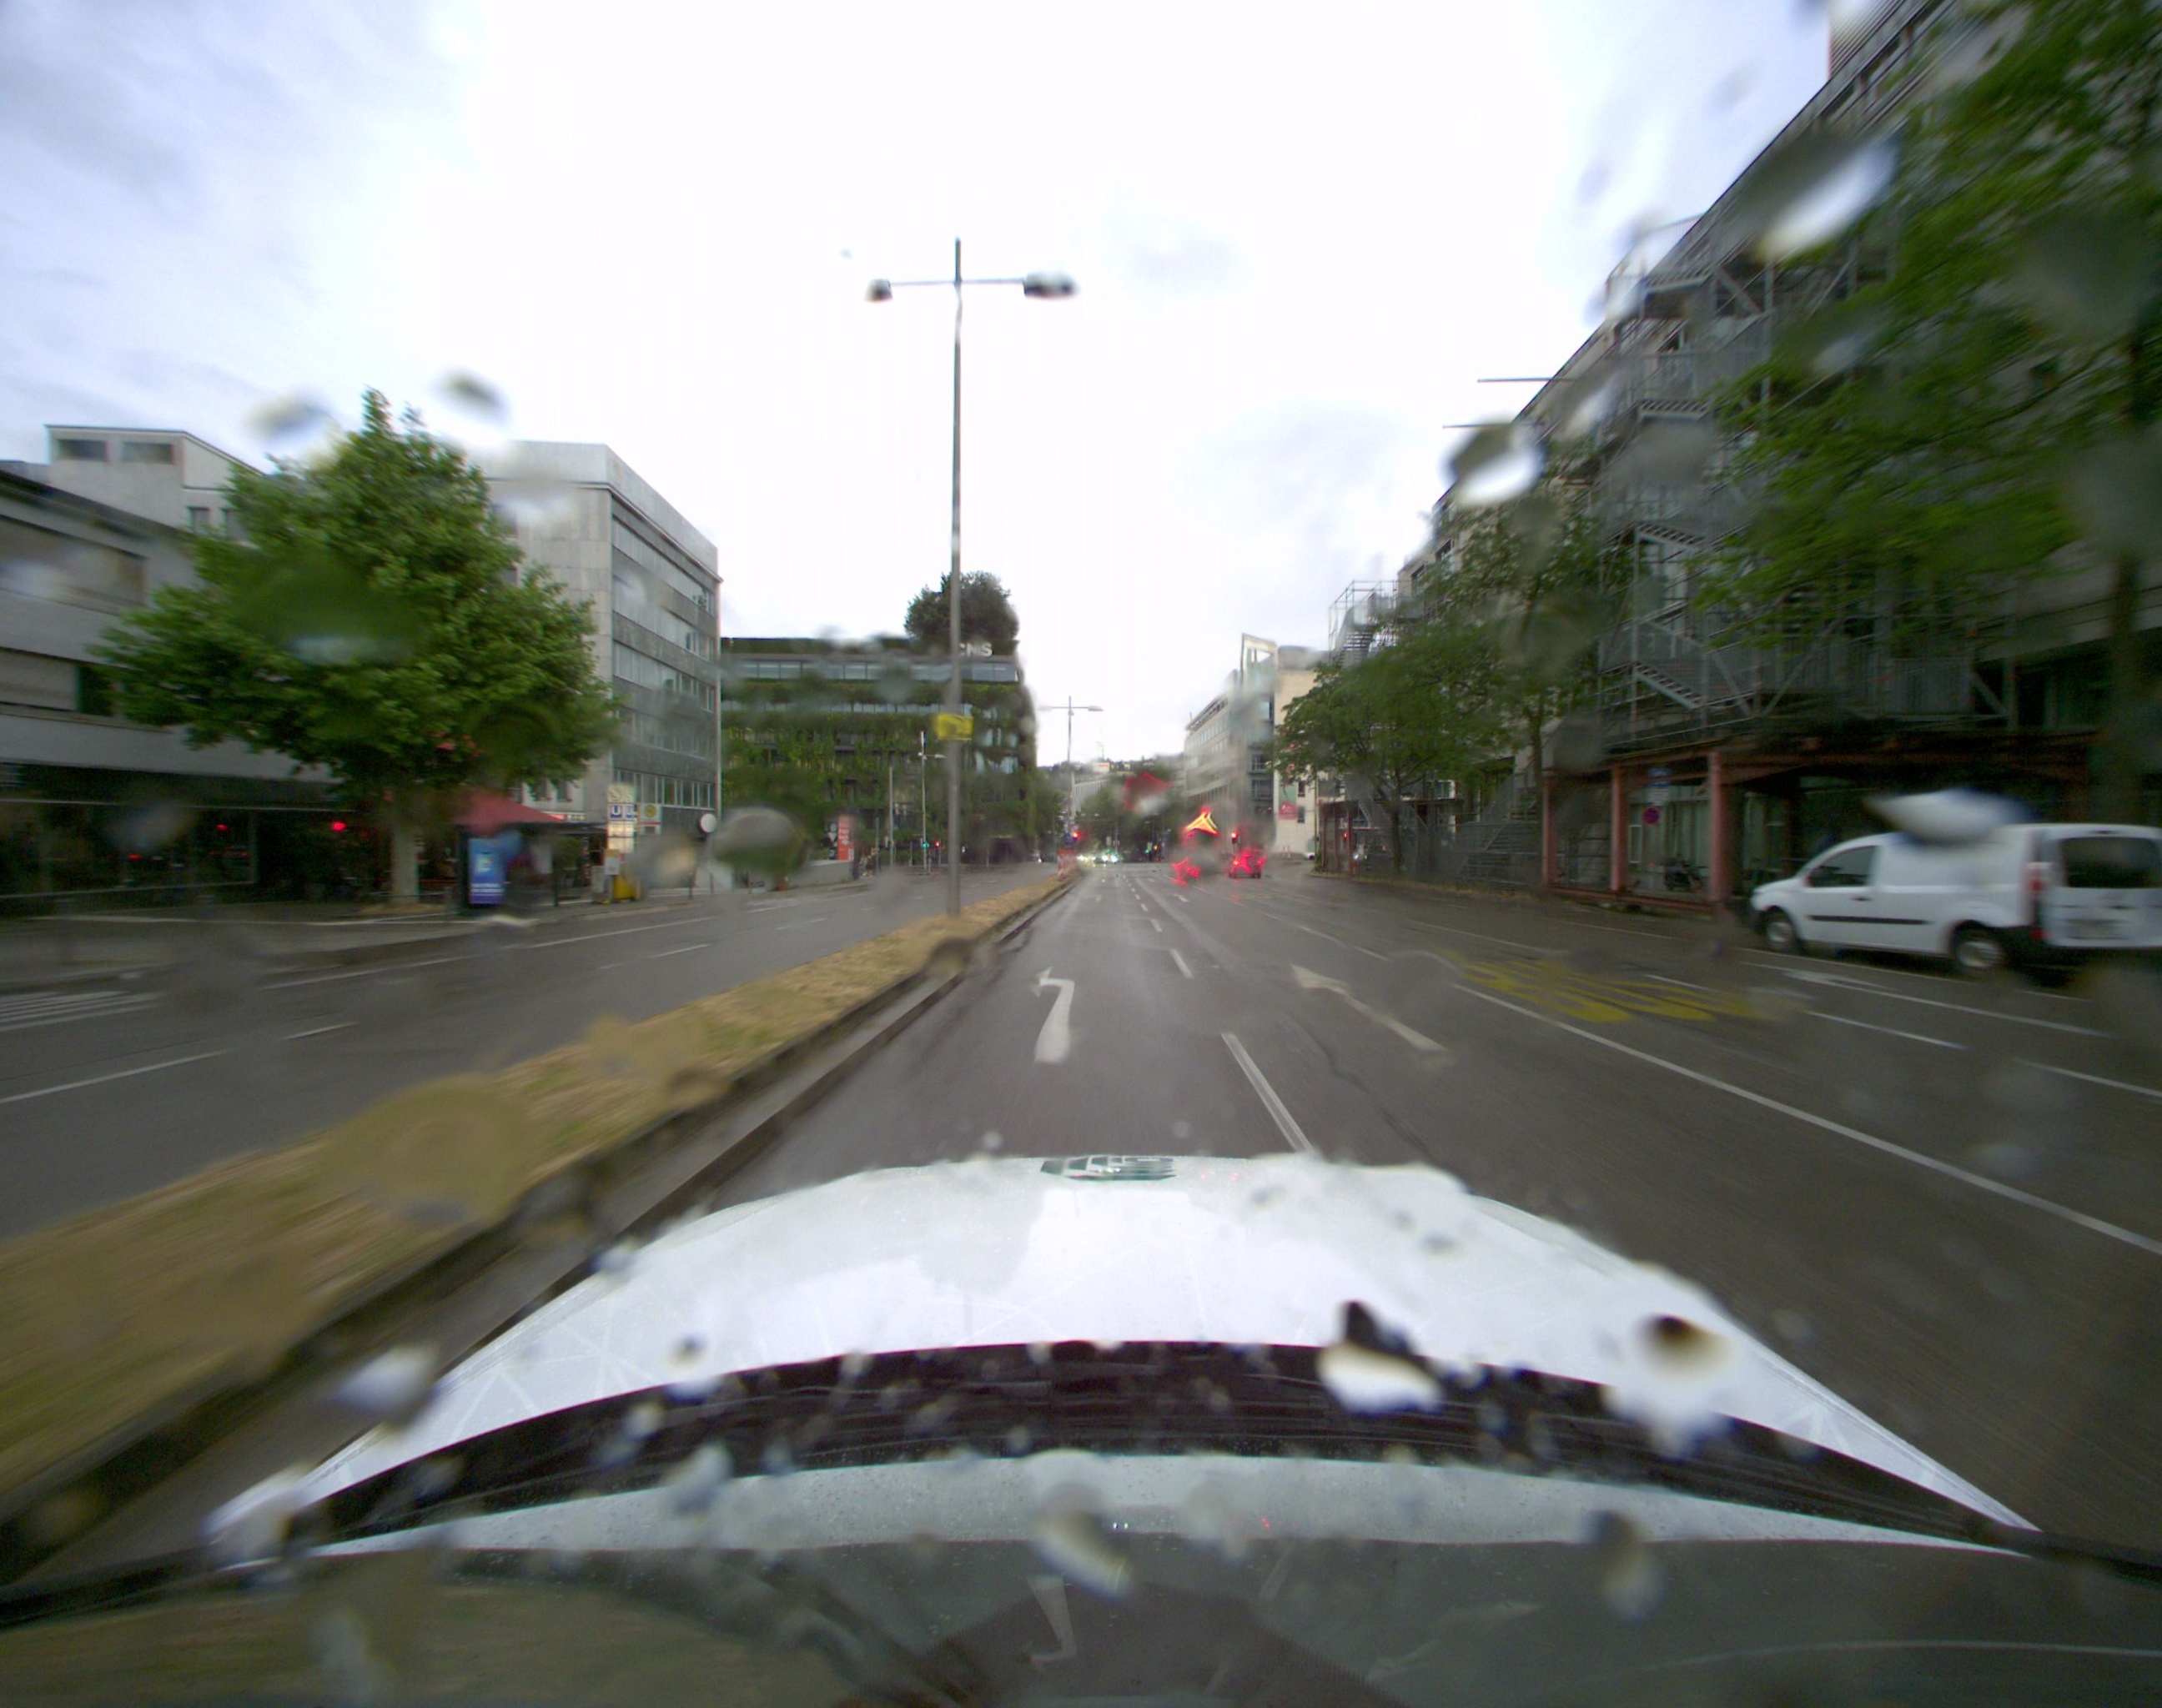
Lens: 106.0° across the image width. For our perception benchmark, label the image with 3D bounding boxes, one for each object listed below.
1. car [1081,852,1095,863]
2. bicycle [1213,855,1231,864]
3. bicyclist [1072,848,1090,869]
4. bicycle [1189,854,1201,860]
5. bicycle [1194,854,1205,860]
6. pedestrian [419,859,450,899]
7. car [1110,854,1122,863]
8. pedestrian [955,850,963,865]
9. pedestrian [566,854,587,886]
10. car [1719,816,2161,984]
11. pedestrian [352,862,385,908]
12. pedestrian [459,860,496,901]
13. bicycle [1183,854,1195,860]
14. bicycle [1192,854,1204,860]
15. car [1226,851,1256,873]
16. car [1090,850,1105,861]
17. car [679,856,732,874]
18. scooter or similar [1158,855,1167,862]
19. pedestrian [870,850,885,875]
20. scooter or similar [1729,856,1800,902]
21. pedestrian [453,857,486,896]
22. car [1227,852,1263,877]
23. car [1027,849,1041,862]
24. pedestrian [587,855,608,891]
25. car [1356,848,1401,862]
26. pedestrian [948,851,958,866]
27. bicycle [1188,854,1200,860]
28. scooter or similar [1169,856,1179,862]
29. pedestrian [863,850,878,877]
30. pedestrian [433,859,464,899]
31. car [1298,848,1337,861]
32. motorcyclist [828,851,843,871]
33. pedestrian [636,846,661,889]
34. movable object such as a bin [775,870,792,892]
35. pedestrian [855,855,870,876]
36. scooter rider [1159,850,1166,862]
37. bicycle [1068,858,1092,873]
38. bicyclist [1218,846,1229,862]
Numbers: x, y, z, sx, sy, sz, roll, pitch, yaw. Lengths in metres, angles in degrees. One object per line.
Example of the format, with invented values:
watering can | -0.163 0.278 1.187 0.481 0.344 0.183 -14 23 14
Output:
car | 1.221 0.518 140.429 2.170 1.823 4.638 -1 0 -4
bicycle | 18.095 0.725 104.480 0.797 1.117 2.230 0 0 -38
bicyclist | -0.002 0.375 65.876 0.837 1.704 1.307 -1 0 39
bicycle | 16.679 0.453 119.522 1.778 0.934 0.478 -1 0 43
bicycle | 17.473 0.441 120.139 1.778 0.934 0.478 -1 0 43
pedestrian | -23.490 0.899 29.596 0.687 1.450 0.547 0 0 -3
car | 6.514 0.794 151.492 1.988 1.443 4.554 -1 1 -1
pedestrian | -14.411 0.448 95.954 0.744 1.758 0.969 -1 0 -21
pedestrian | -23.068 0.717 37.234 0.601 1.450 0.587 0 0 -4
car | 11.171 0.476 10.808 1.986 1.750 4.529 -1 0 2
pedestrian | -24.520 1.053 28.043 0.595 1.571 0.603 -1 0 -8
pedestrian | -21.676 0.945 29.263 0.687 1.450 0.913 0 0 -2
bicycle | 16.957 0.507 128.051 1.786 0.934 0.476 -1 0 4
bicycle | 17.349 0.447 121.110 1.778 0.934 0.478 -1 0 43
car | 11.760 0.579 59.607 1.690 1.529 4.447 -1 0 17
car | 2.326 0.168 114.213 1.987 1.550 4.555 -1 0 0
car | -33.400 0.924 72.539 3.893 1.523 1.865 -1 0 -11
scooter or similar | 12.065 0.727 120.906 0.558 1.007 1.813 -1 0 -18
pedestrian | -16.425 0.679 65.792 0.781 1.885 0.898 -5 0 2
scooter or similar | 18.166 0.645 21.690 0.629 1.161 1.548 -1 0 2
pedestrian | -23.488 0.864 31.285 0.725 1.450 0.690 0 0 -5
car | 10.534 0.655 52.488 1.770 1.540 4.152 -1 0 4
car | -7.172 0.183 124.376 1.988 1.895 4.462 -1 0 -2
pedestrian | -25.723 1.015 43.344 0.754 1.885 0.591 0 0 -5
car | 33.409 0.093 91.447 4.452 1.464 1.716 -1 0 -11
pedestrian | -15.064 0.497 95.733 0.938 1.758 1.163 -1 0 -21
bicycle | 17.510 0.493 126.184 1.786 0.934 0.476 -1 0 4
scooter or similar | 15.441 0.800 135.206 1.750 0.878 0.486 -1 0 -17
pedestrian | -15.577 0.686 60.249 0.804 1.885 0.865 -5 0 -4
pedestrian | -23.487 0.922 30.237 0.687 1.450 0.583 0 0 -1
car | 30.215 0.072 104.140 4.455 1.598 1.991 -1 0 -13
motorcyclist | -21.624 0.587 71.823 1.187 1.703 0.844 -1 0 -14
pedestrian | -19.035 0.581 35.844 0.687 1.885 0.758 0 0 -2
movable object such as a bin | -12.982 1.165 35.594 0.531 0.897 0.681 -2 0 -7
pedestrian | -17.603 0.926 65.708 0.828 1.585 0.923 -5 0 1
scooter rider | 12.046 0.350 120.941 0.764 1.774 0.791 -1 0 -18
bicycle | -0.063 0.913 65.830 0.837 1.103 2.166 -1 0 37
bicyclist | 18.256 -0.004 104.251 0.798 1.975 1.101 0 0 -39
